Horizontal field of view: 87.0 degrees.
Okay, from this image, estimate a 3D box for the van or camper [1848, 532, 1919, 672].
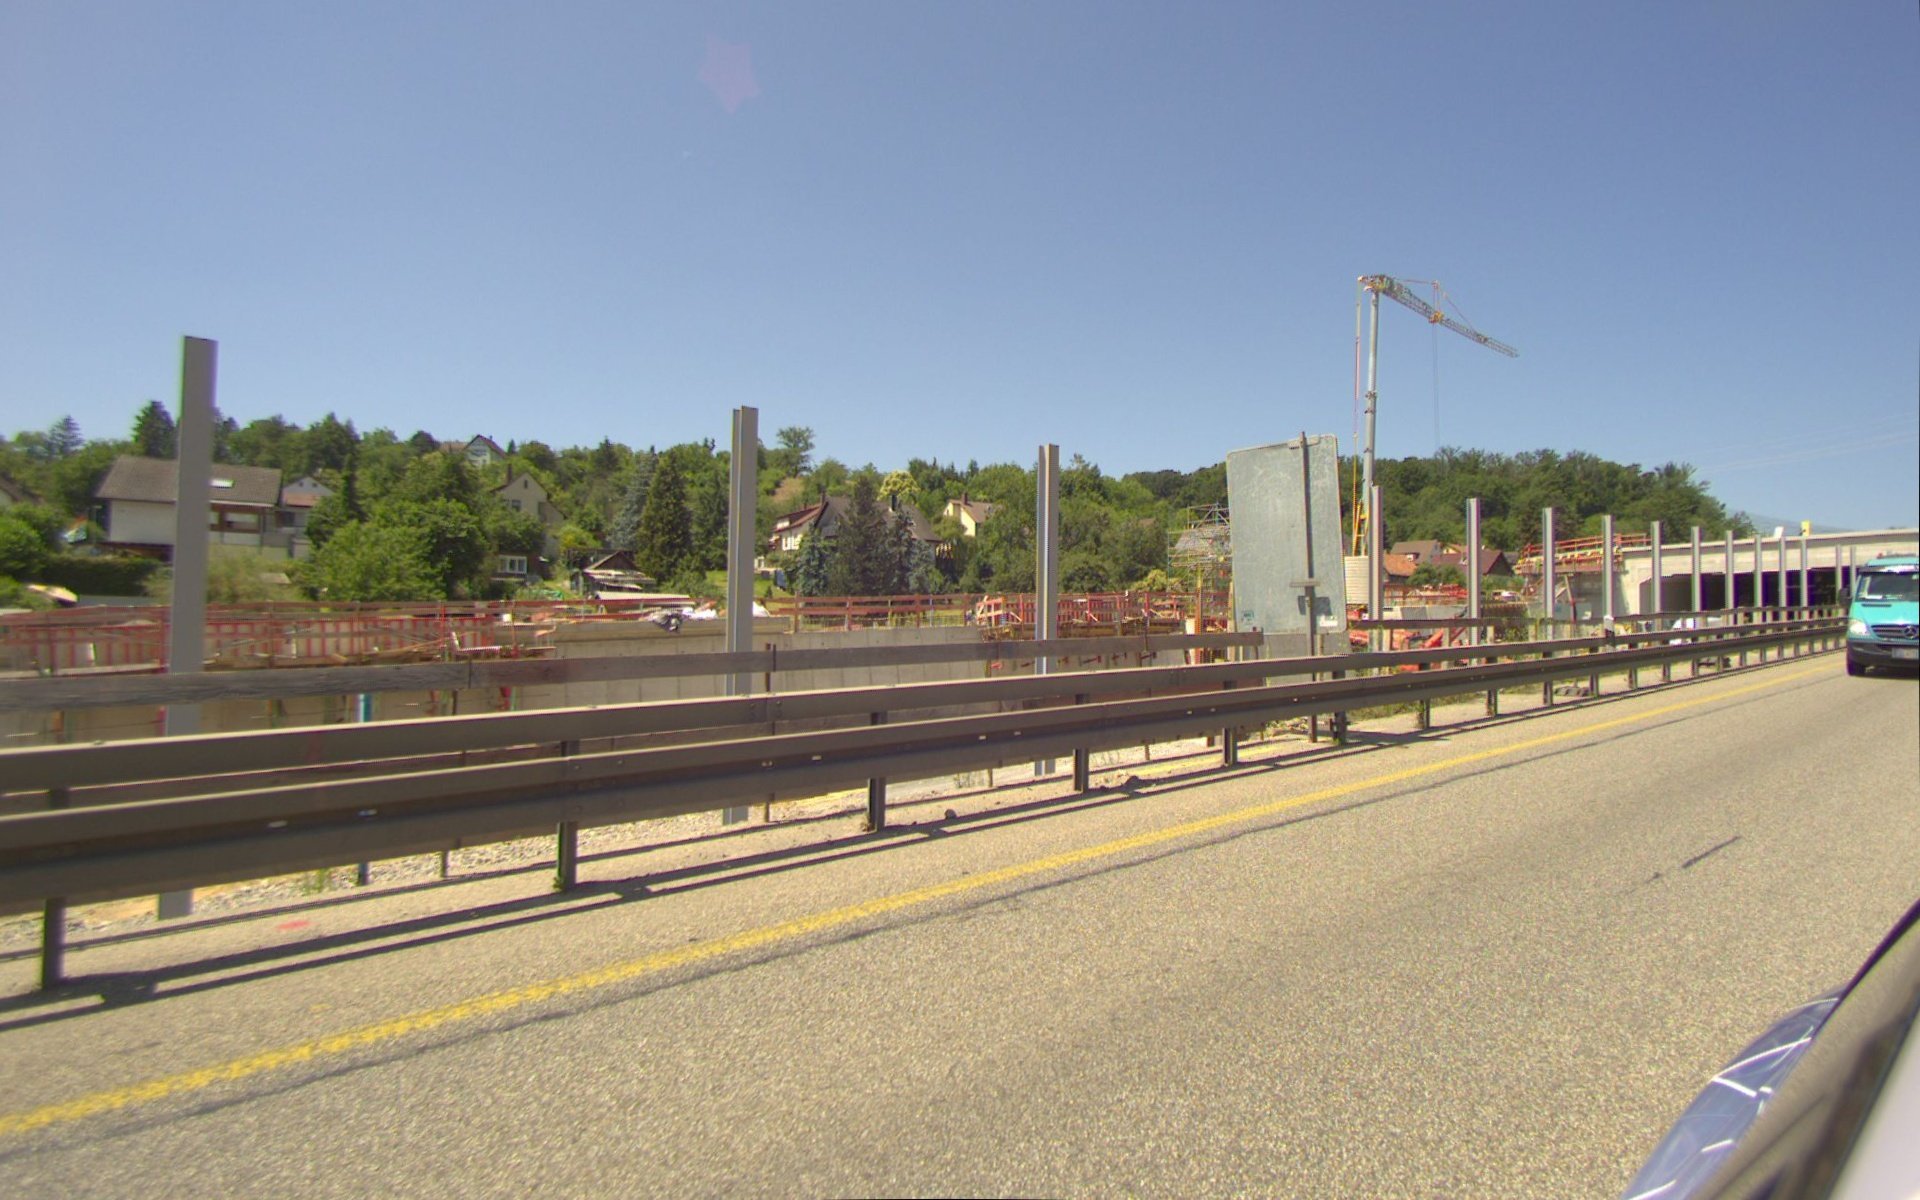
[{"bbox_3d":[20.052,0.008,20.502,7.537,2.504,2.096,0,0,-41],"label":"van or camper"}]
